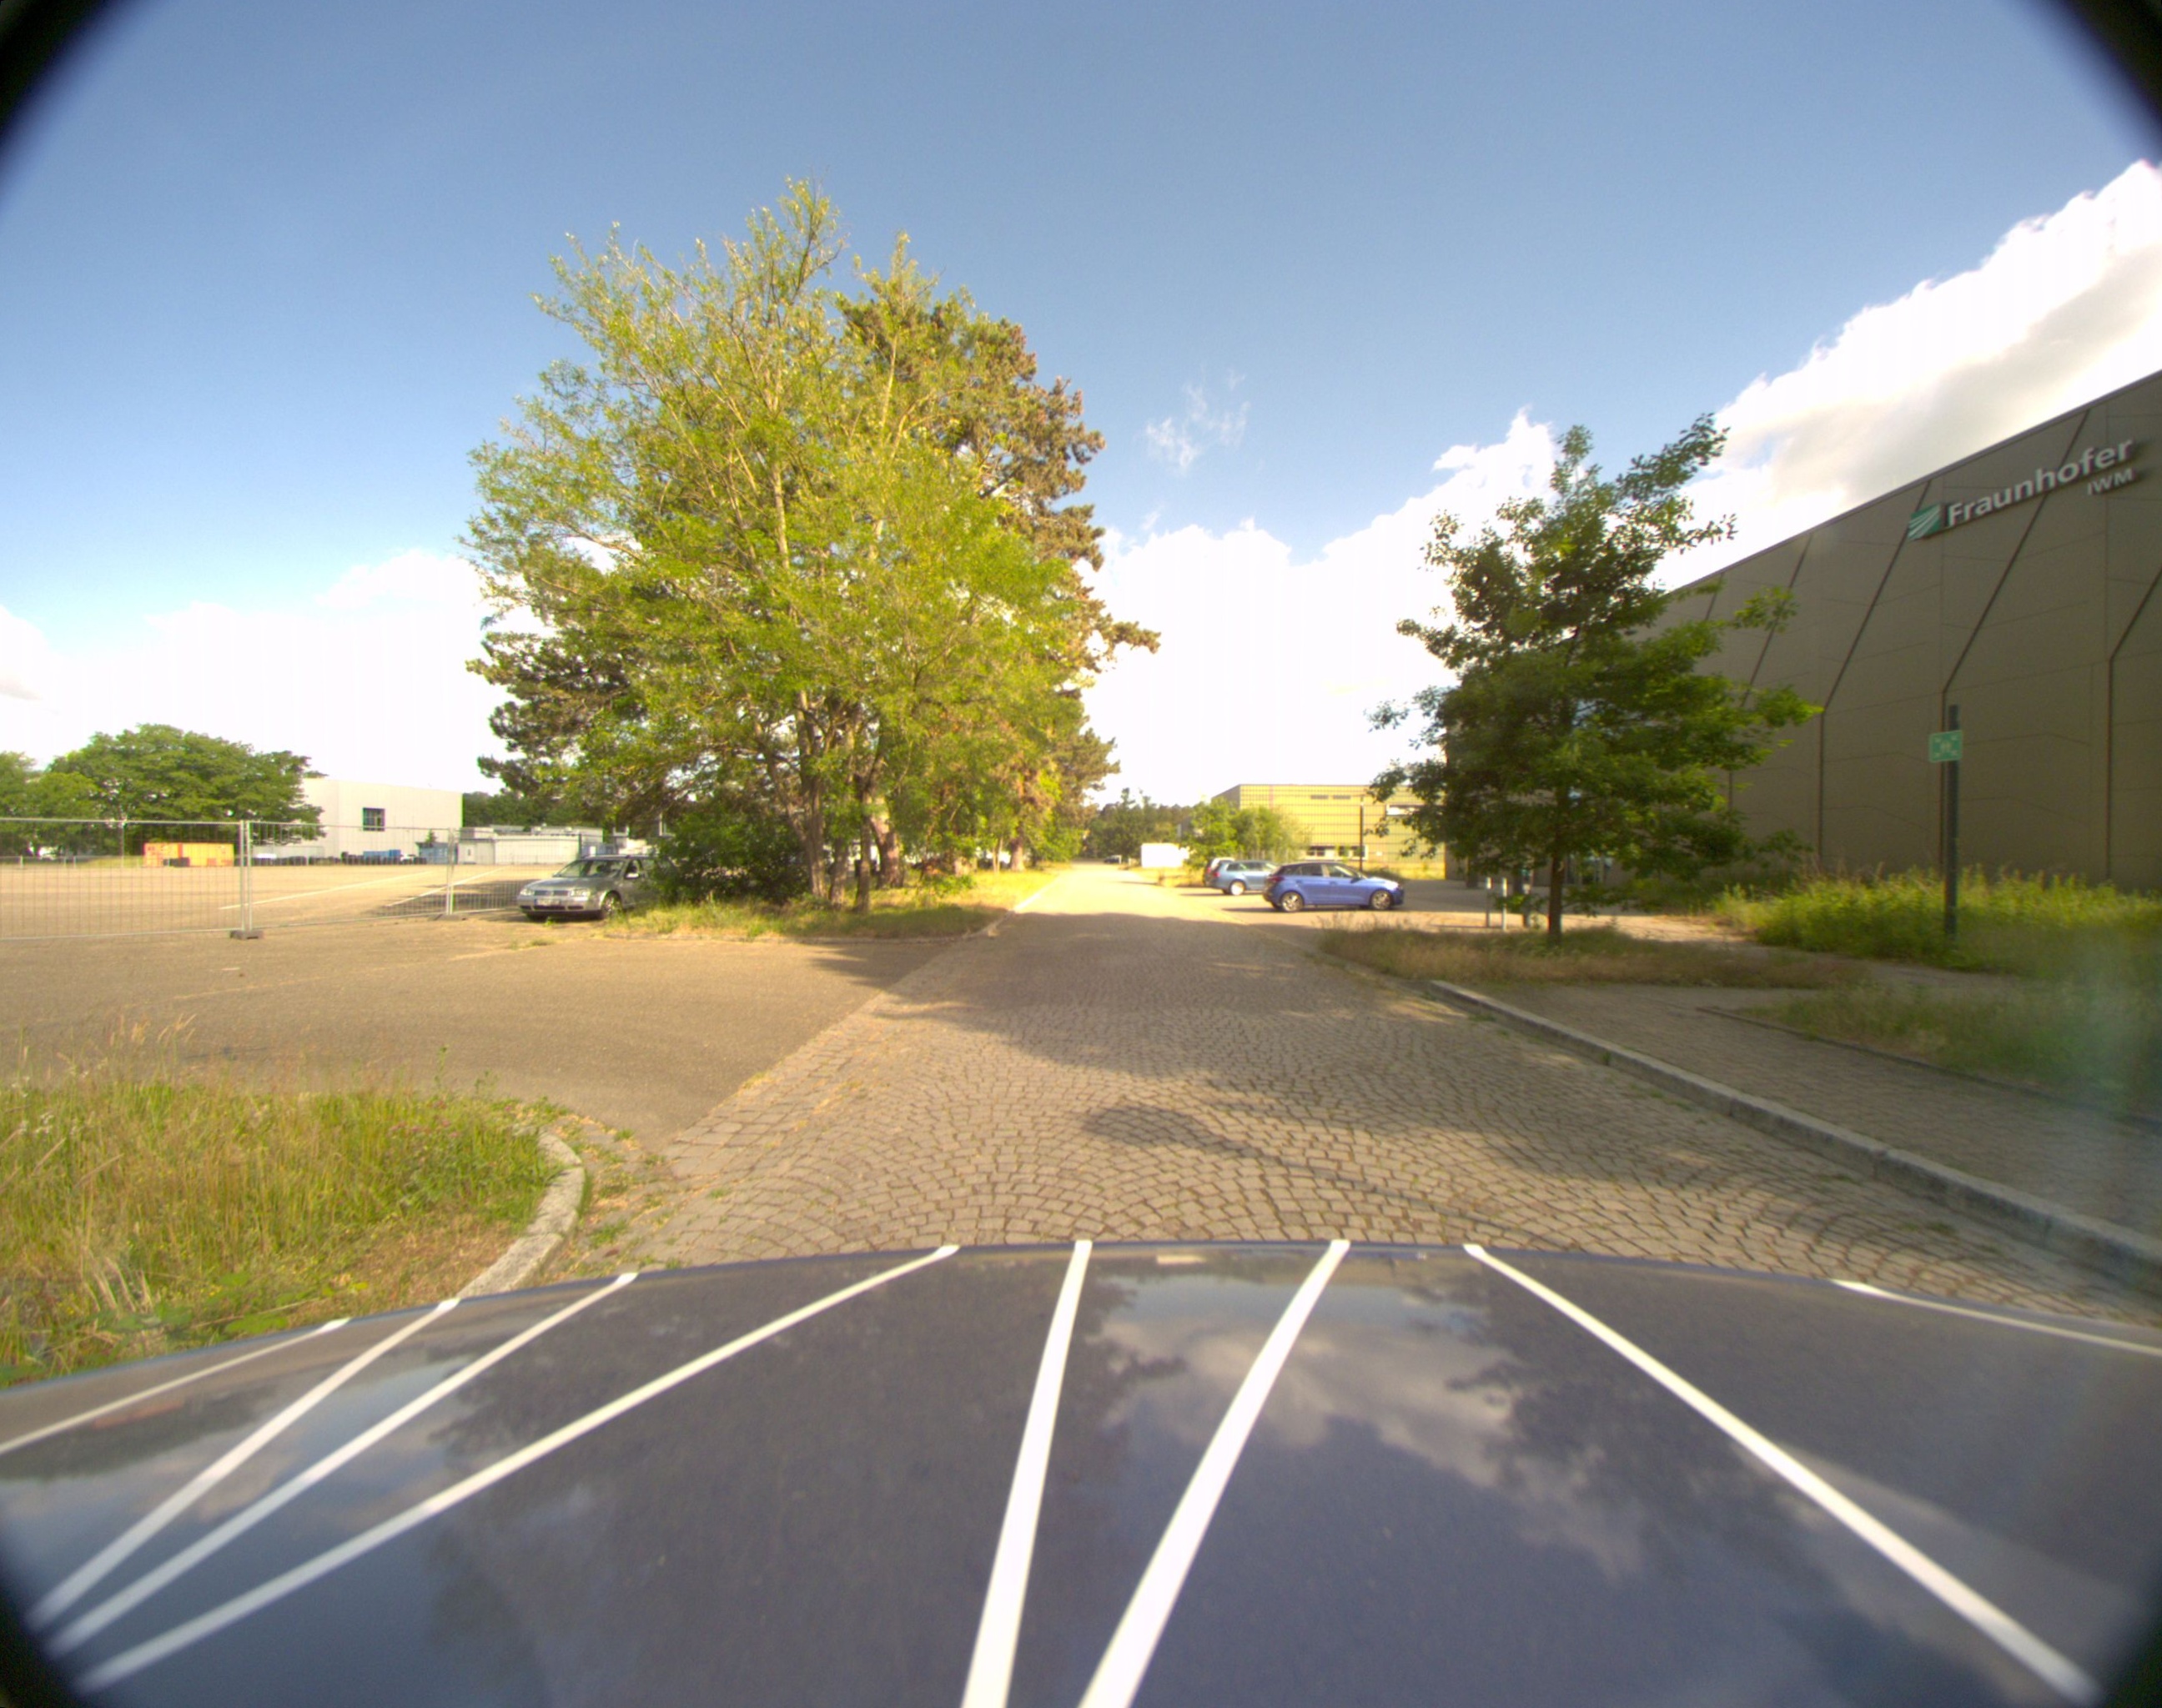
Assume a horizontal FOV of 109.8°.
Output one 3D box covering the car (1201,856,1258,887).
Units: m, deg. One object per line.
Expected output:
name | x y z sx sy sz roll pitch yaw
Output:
car | 7.703 0.894 39.536 2.652 1.559 1.481 -1 0 -1

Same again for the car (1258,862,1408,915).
car | 7.433 1.005 22.693 3.918 1.459 1.735 -1 0 3

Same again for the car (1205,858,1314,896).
car | 7.489 0.952 32.183 4.179 1.465 1.734 -1 0 -1

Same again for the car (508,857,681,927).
car | -11.107 0.796 17.709 1.579 1.435 3.985 0 0 -2
